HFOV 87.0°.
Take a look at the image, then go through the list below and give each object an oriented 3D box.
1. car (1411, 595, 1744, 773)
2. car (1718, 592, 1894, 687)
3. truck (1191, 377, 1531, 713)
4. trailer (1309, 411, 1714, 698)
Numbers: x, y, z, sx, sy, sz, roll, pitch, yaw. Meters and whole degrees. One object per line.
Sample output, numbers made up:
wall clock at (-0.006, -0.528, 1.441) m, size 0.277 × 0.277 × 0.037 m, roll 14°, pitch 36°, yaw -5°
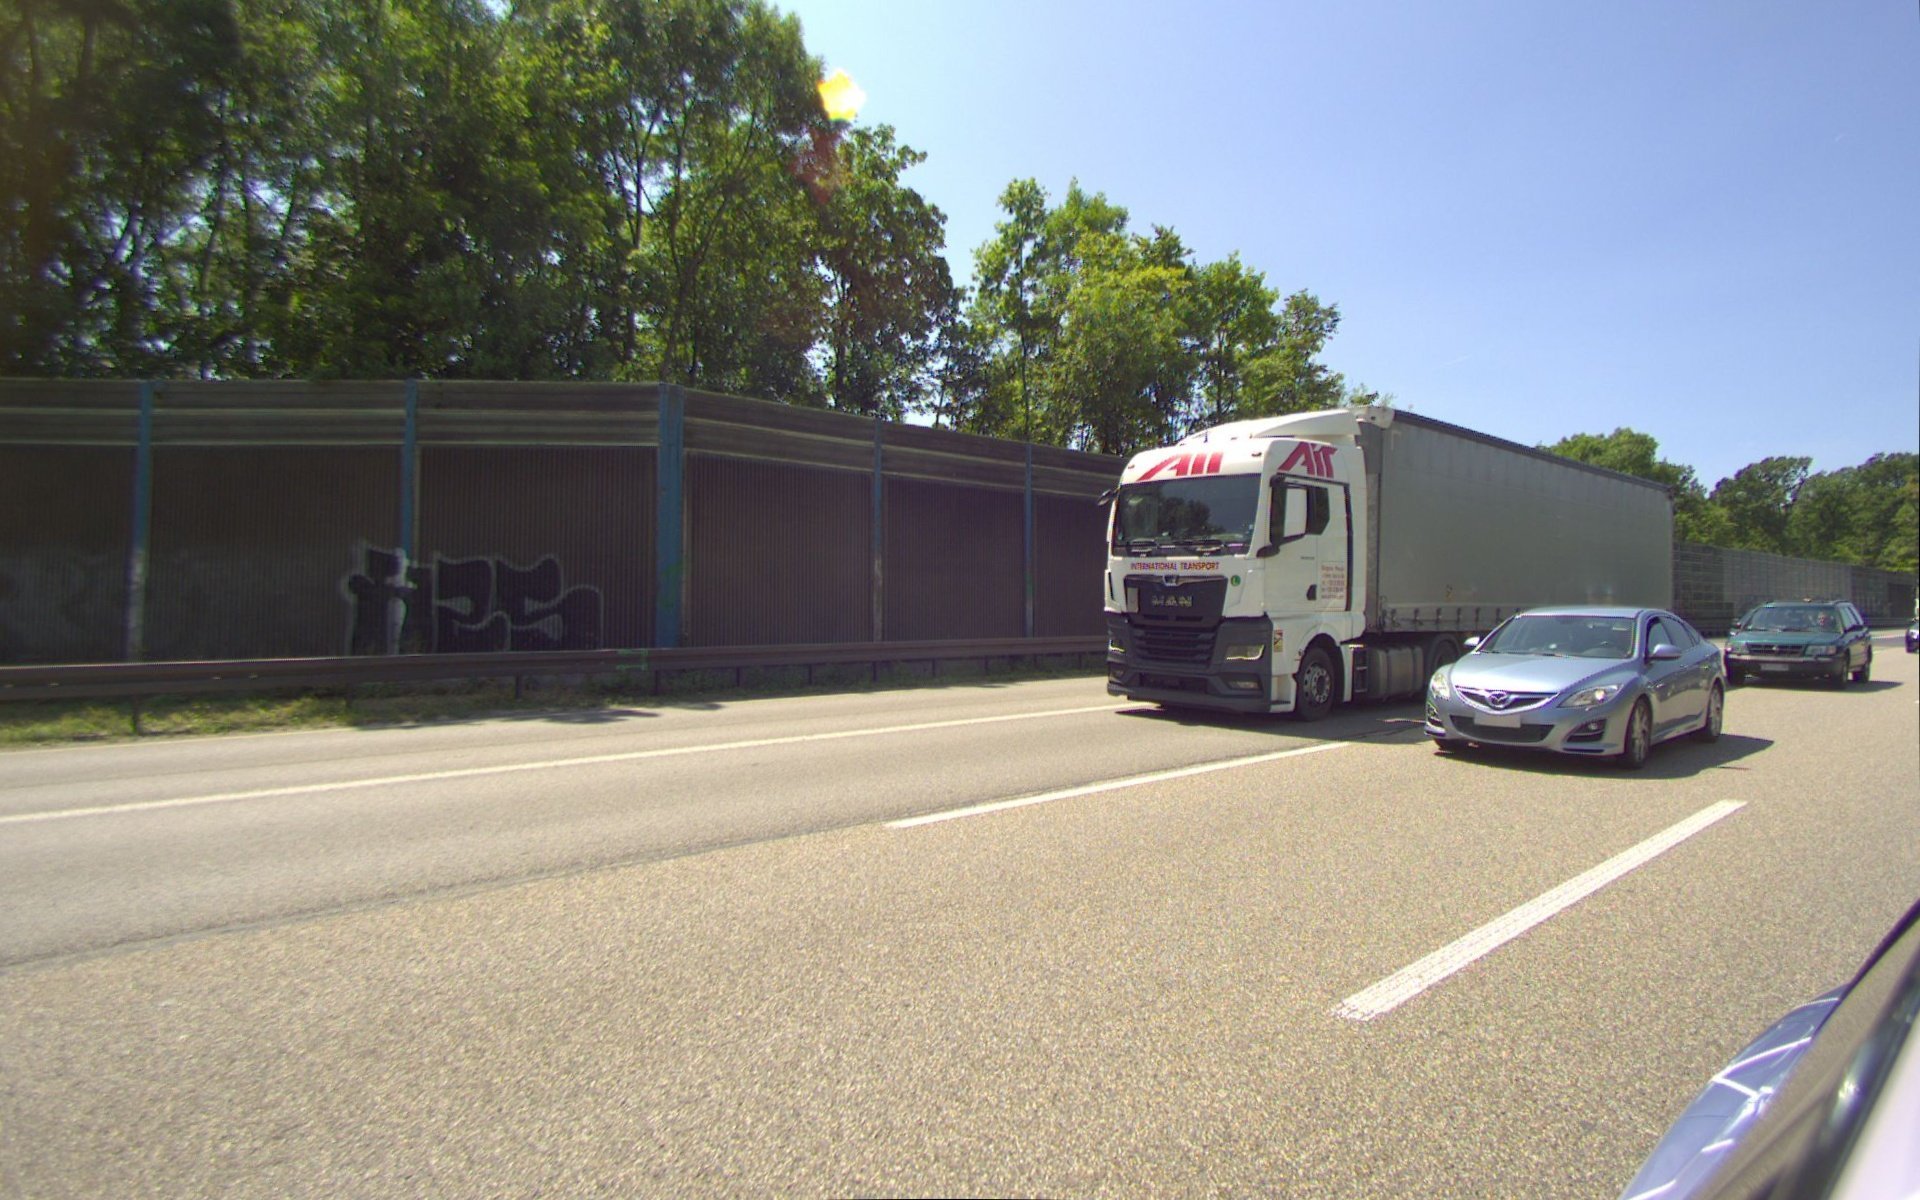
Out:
car at (6.431, 0.710, 10.356) m, size 4.105 × 1.452 × 1.858 m, roll 1°, pitch -1°, yaw -43°
car at (15.859, 0.689, 18.917) m, size 3.929 × 1.579 × 1.906 m, roll 1°, pitch -1°, yaw -41°
truck at (6.191, -0.685, 15.285) m, size 5.456 × 4.142 × 2.602 m, roll 0°, pitch 0°, yaw -41°
trailer at (11.573, -0.659, 19.999) m, size 13.354 × 4.142 × 2.602 m, roll 0°, pitch 0°, yaw -41°
